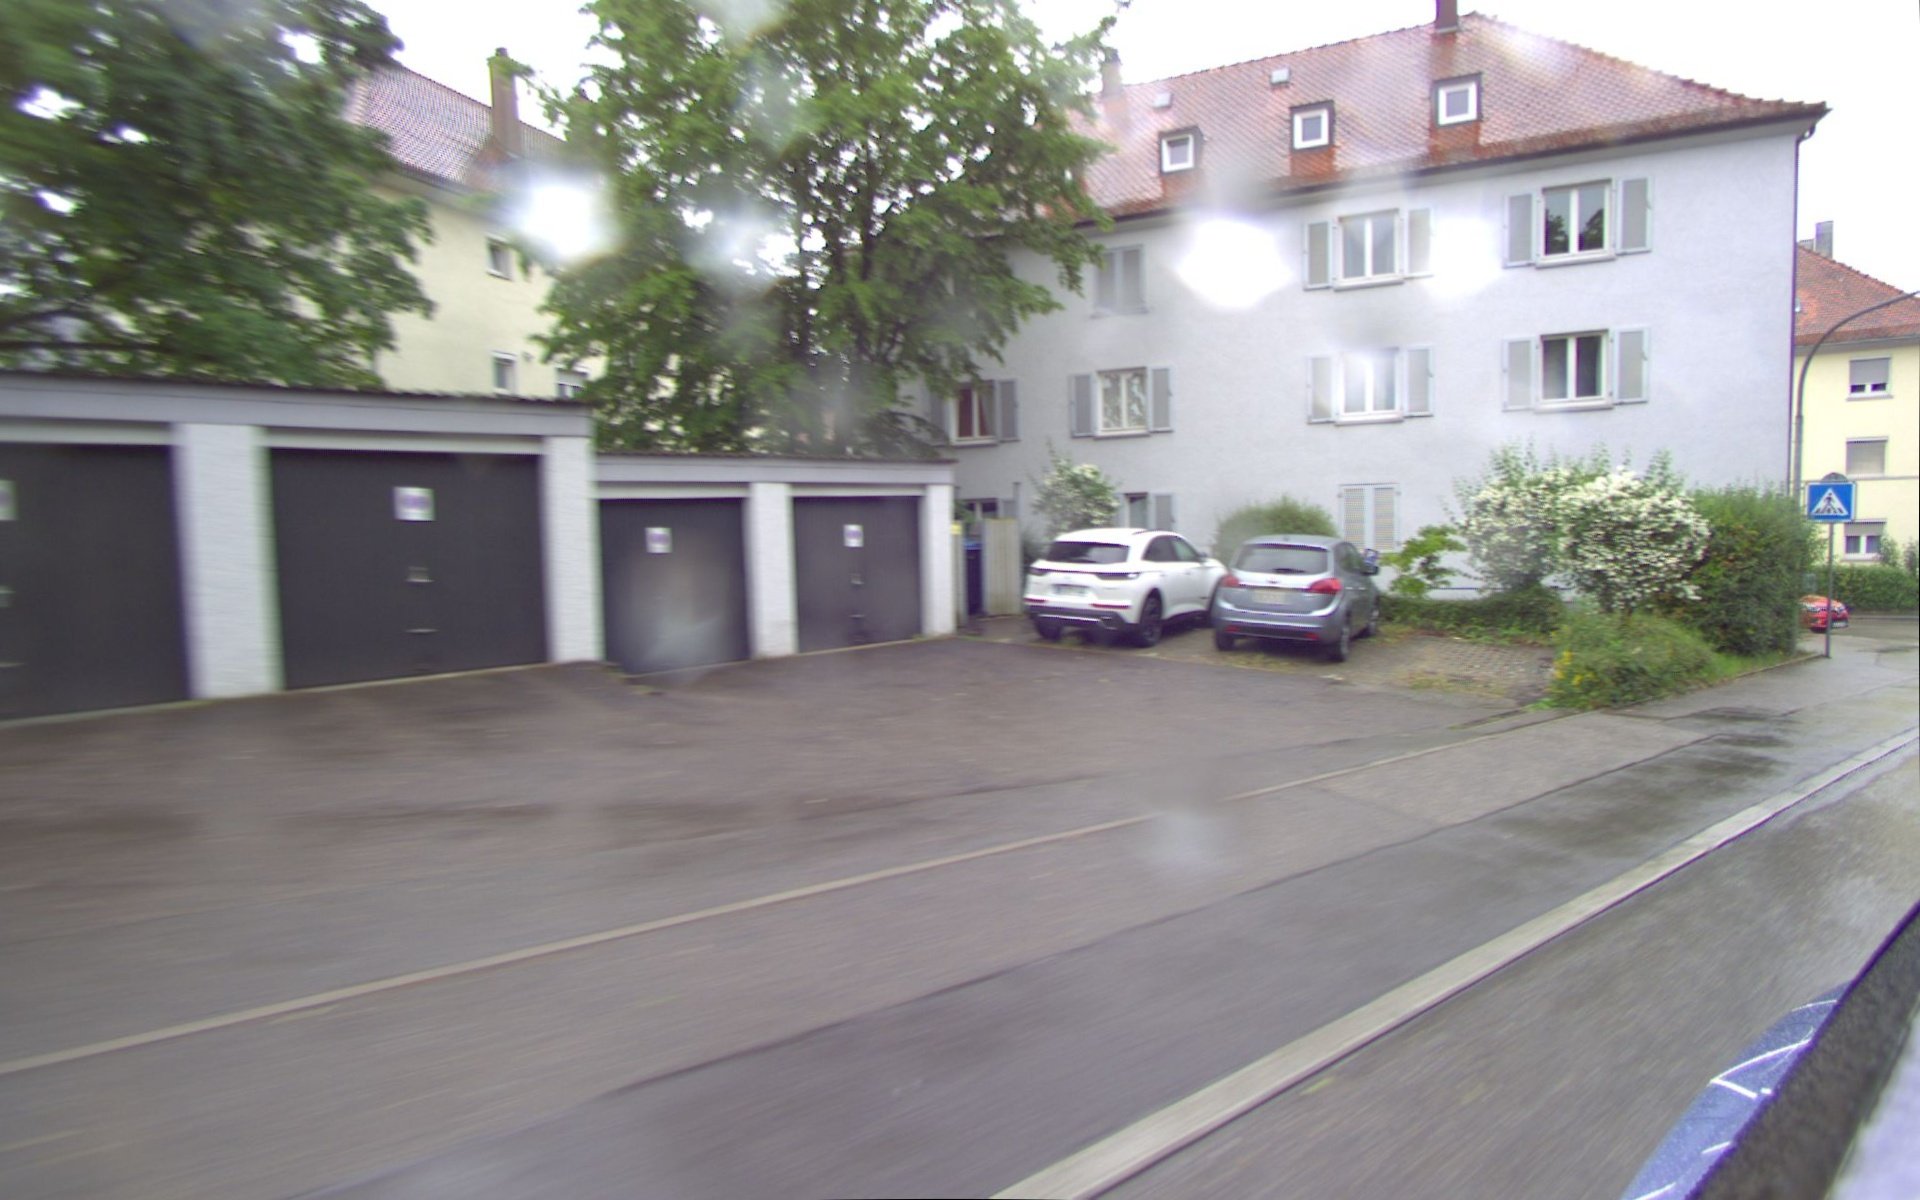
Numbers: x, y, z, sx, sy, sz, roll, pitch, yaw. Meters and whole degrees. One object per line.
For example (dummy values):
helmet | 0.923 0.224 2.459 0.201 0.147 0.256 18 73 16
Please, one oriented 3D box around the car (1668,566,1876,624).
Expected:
car | 21.794 -0.152 27.379 1.688 1.425 4.102 -1 1 -20

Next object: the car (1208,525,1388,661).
car | 5.023 -0.237 14.732 1.711 1.581 3.758 4 7 30

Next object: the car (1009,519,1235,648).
car | 2.627 -0.396 15.620 1.785 1.611 4.207 5 7 34

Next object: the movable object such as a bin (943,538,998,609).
movable object such as a bin | 0.180 -0.477 18.311 0.710 1.260 0.726 0 1 -34
